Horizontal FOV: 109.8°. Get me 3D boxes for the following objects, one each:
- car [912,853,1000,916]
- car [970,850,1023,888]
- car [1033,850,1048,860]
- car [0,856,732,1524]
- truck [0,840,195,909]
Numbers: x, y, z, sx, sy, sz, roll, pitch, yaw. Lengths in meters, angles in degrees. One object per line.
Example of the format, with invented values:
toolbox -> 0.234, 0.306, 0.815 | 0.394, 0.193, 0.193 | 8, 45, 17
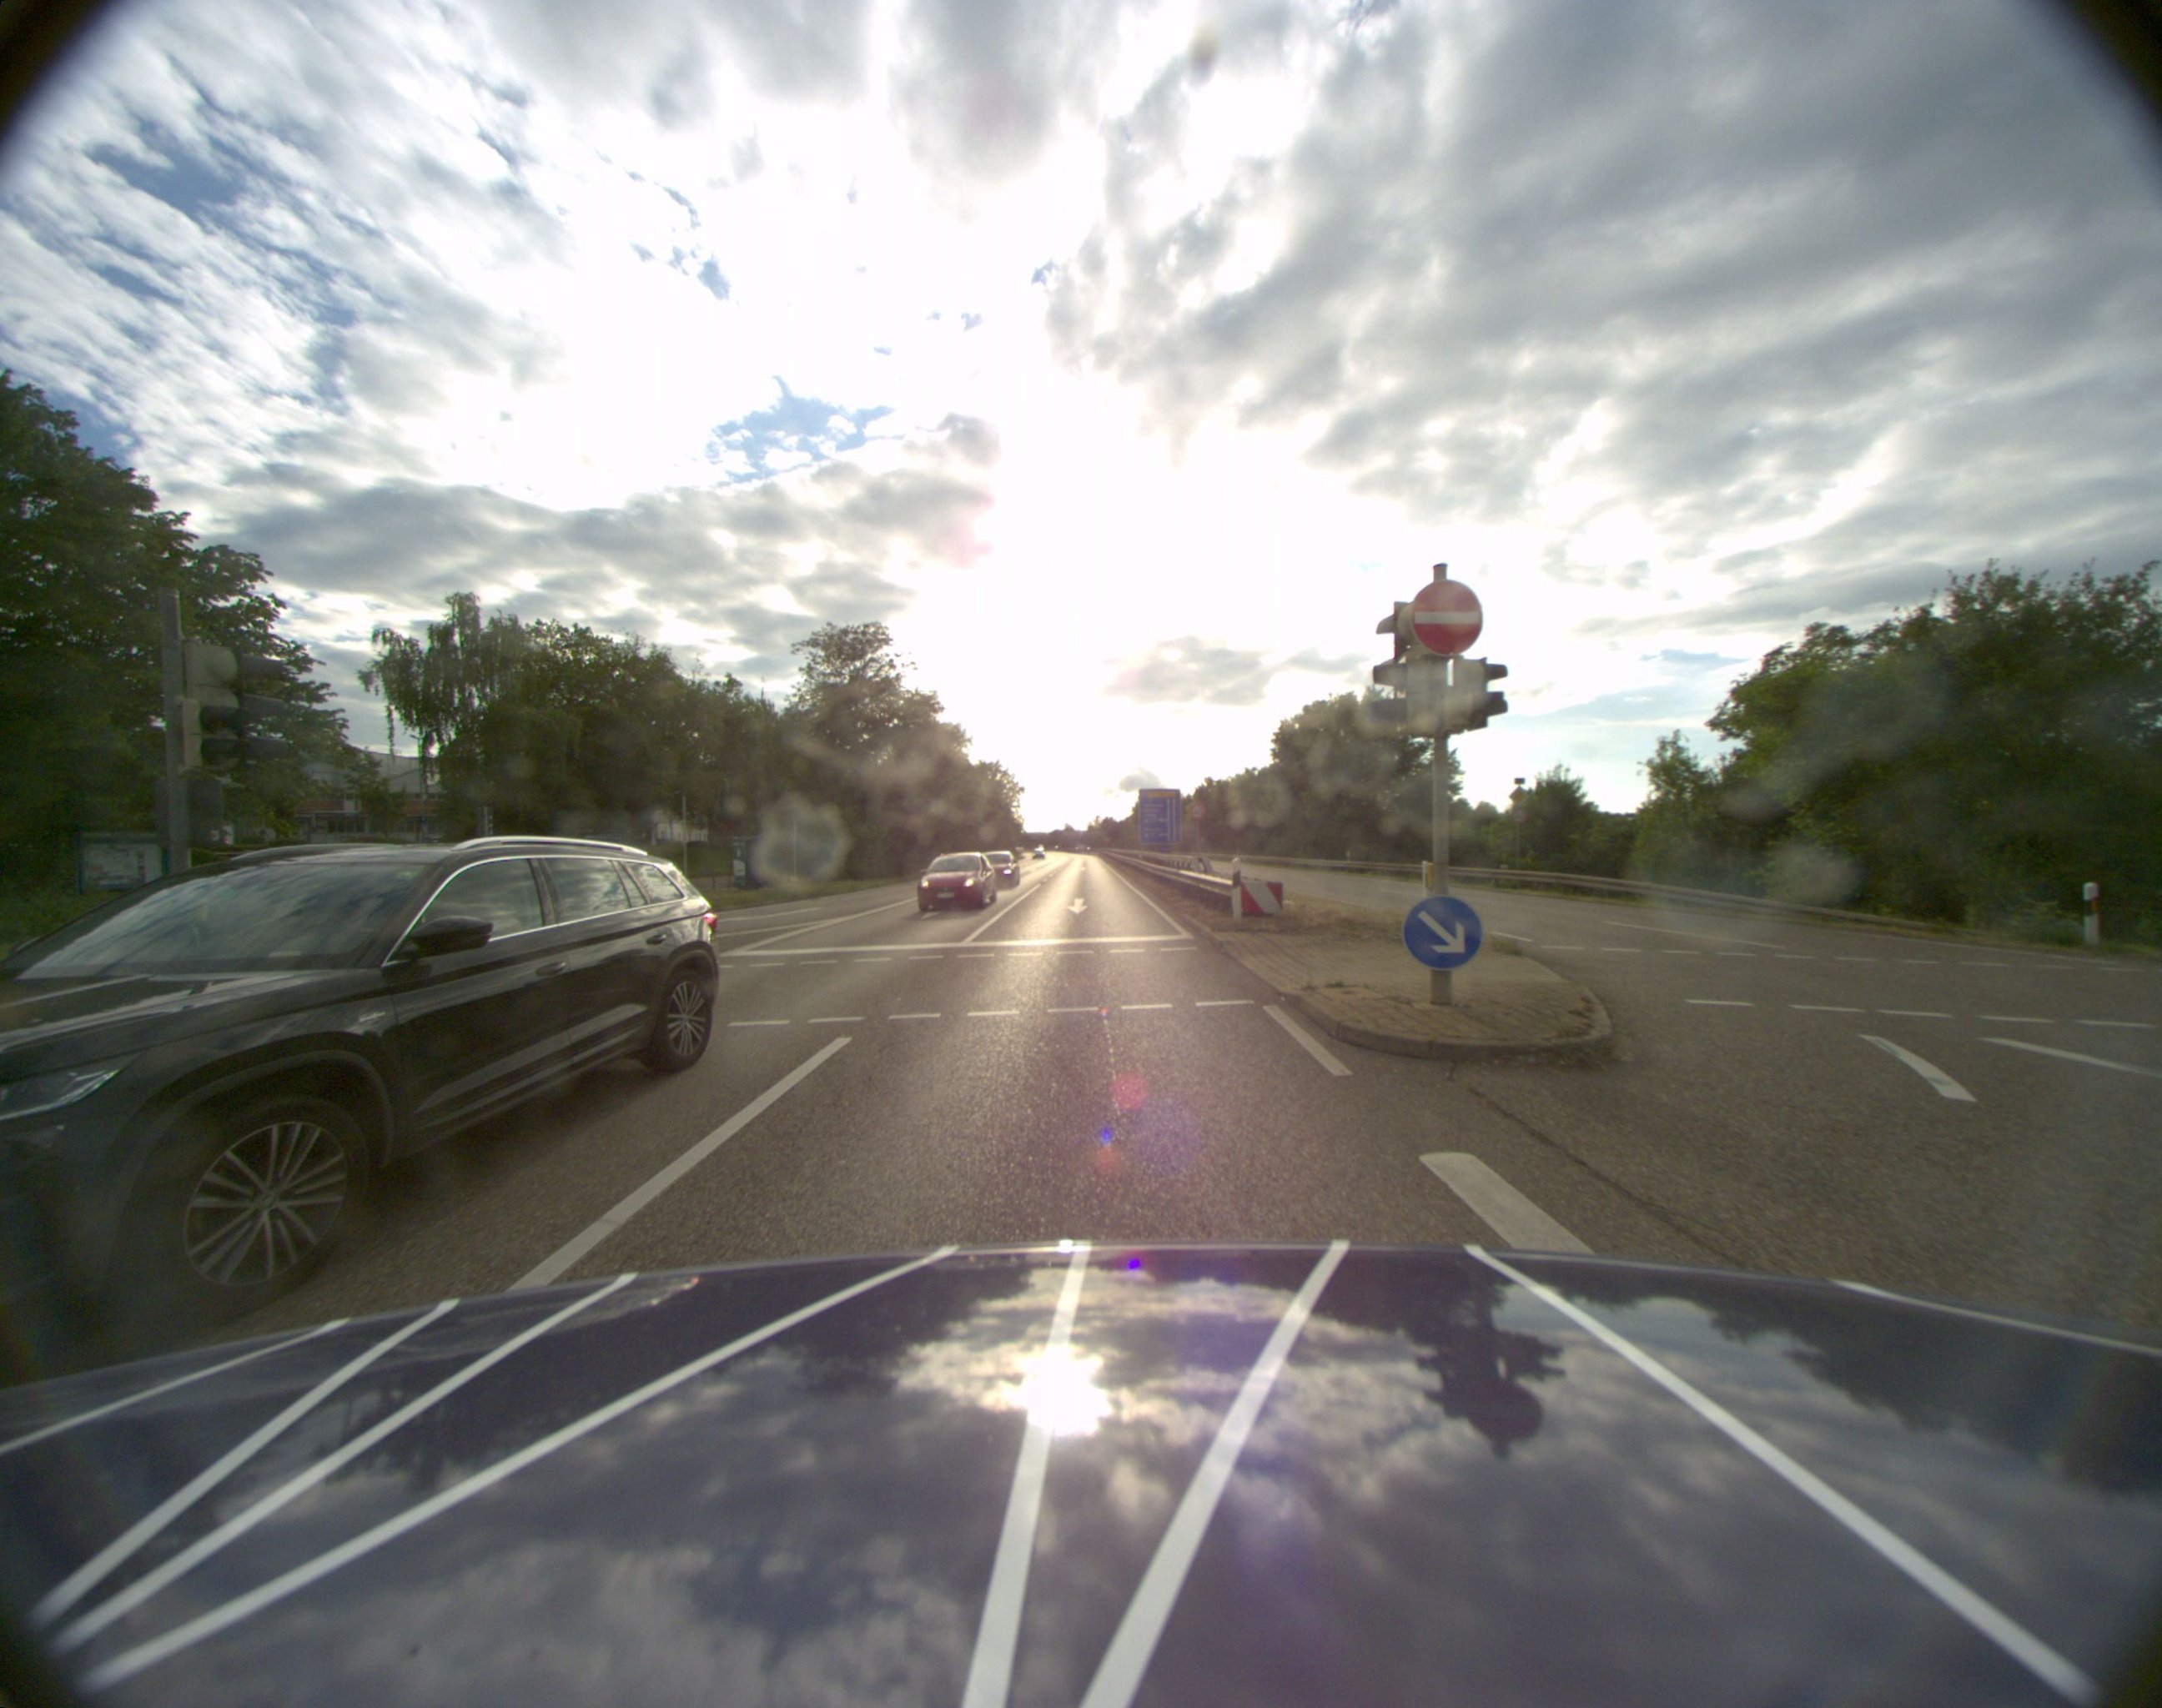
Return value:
car -> -3.268, 0.746, 20.581 | 1.667, 1.424, 3.994 | -2, 1, 0
car -> -3.440, 0.578, 31.535 | 1.700, 1.407, 3.999 | -2, 1, 0
car -> -5.875, 0.140, 110.159 | 1.998, 1.486, 3.999 | 0, 1, 0
car -> -3.715, 0.902, 3.747 | 1.849, 1.640, 4.480 | -2, 1, 0
truck -> -31.655, 0.621, 23.806 | 4.678, 1.985, 1.819 | -2, 1, -35
